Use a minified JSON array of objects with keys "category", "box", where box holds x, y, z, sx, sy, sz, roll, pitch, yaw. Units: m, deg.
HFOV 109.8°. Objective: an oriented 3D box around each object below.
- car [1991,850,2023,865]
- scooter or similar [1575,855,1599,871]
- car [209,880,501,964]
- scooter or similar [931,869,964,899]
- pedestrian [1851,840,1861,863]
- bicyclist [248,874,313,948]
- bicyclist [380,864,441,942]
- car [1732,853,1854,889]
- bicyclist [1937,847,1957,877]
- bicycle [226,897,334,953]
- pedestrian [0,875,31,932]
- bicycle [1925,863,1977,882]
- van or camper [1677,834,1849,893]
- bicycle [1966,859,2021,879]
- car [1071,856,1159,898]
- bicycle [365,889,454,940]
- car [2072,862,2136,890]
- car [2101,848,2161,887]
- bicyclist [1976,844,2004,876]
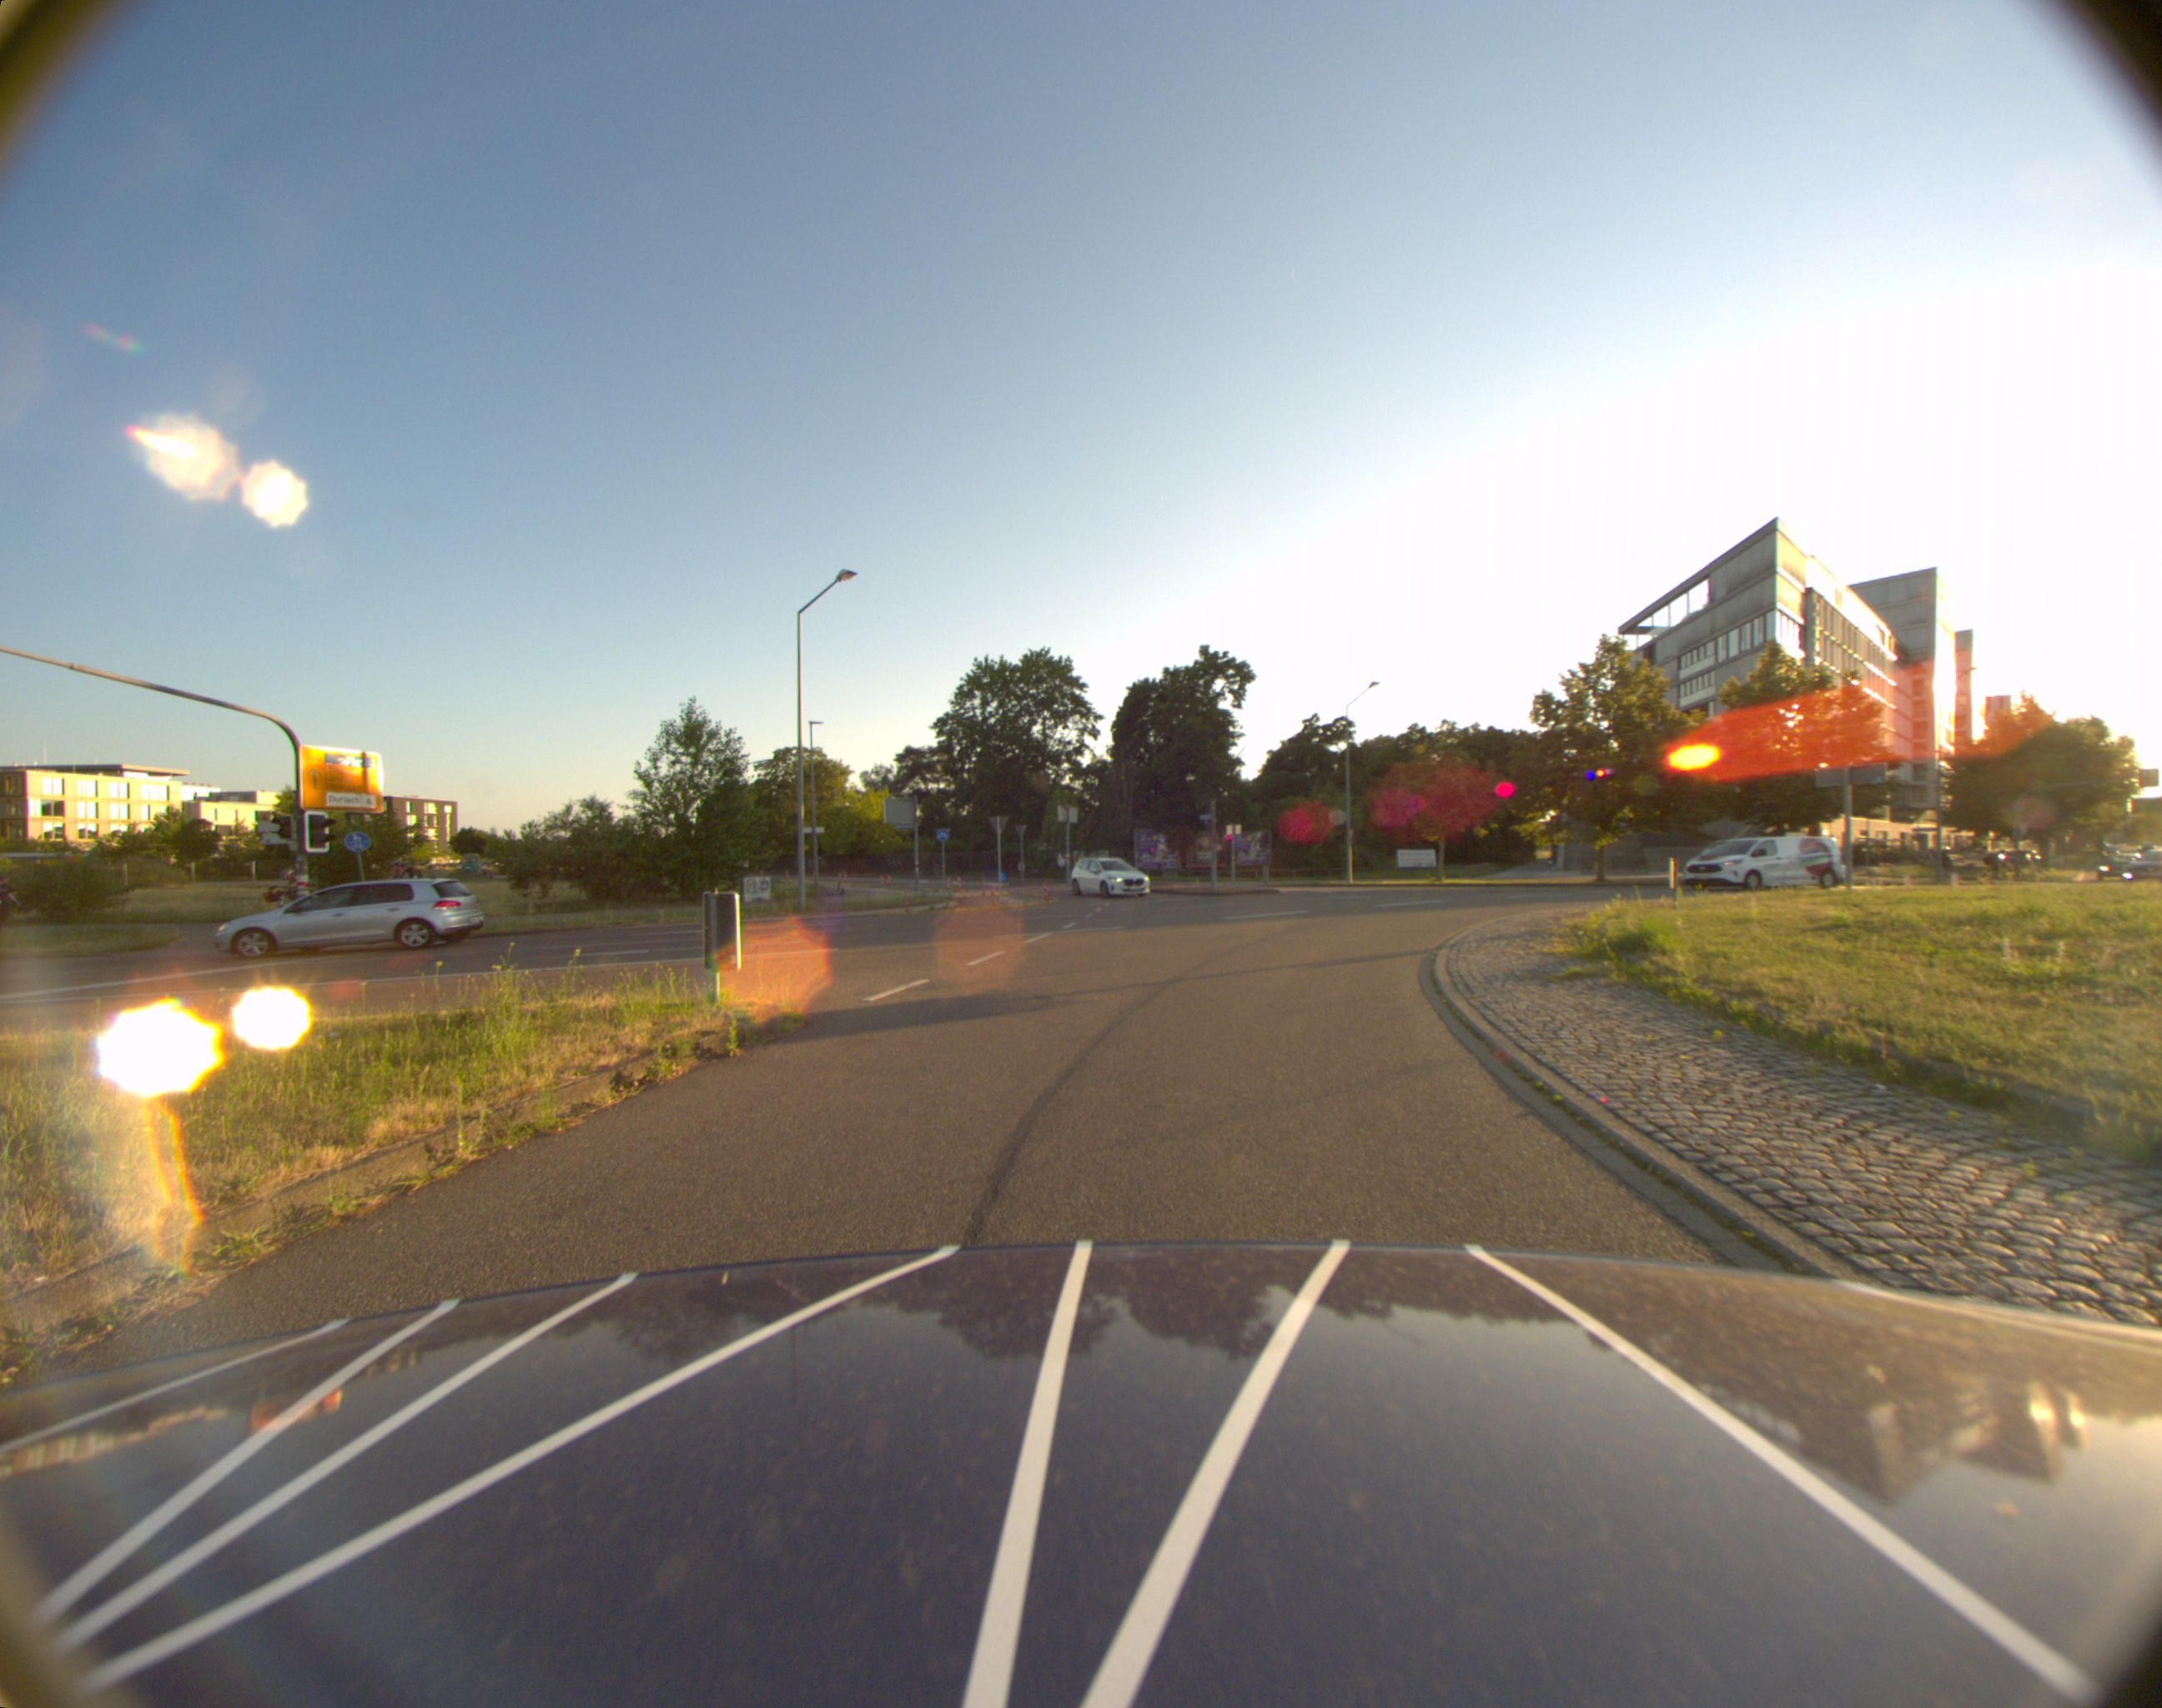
[{"category":"car","box":[89.049,0.328,73.083,4.008,1.455,1.798,0,0,-37]},{"category":"scooter or similar","box":[39.046,0.671,58.679,0.367,1.213,1.573,-1,0,-27]},{"category":"car","box":[-15.234,1.372,16.241,4.054,1.472,1.890,-1,0,-17]},{"category":"scooter or similar","box":[-5.545,1.241,31.631,0.441,1.156,1.386,0,0,39]},{"category":"pedestrian","box":[68.034,-0.256,66.680,0.528,2.002,0.537,-1,0,-37]},{"category":"bicyclist","box":[-19.219,1.357,18.261,0.641,1.693,0.770,-1,3,1]},{"category":"bicyclist","box":[-16.986,1.223,19.264,0.641,1.887,0.910,-1,2,1]},{"category":"car","box":[31.016,0.699,33.100,4.562,1.422,1.743,-1,0,-15]},{"category":"bicyclist","box":[47.188,0.422,41.398,0.682,1.638,0.685,0,0,44]},{"category":"bicycle","box":[-19.202,1.674,18.281,0.456,1.079,1.928,-1,3,2]},{"category":"pedestrian","box":[-29.718,1.367,20.883,0.567,1.541,0.797,-1,1,4]},{"category":"bicycle","box":[47.151,0.979,41.205,1.858,1.016,0.308,-1,0,44]},{"category":"van or camper","box":[24.967,0.317,27.852,5.331,1.946,1.998,-1,1,-13]},{"category":"bicycle","box":[49.560,0.806,41.293,0.438,1.016,1.859,-1,0,-29]},{"category":"car","box":[1.289,0.899,30.999,1.893,1.549,4.087,-1,0,-25]},{"category":"bicycle","box":[-16.976,1.511,19.280,0.456,1.079,1.928,-1,2,2]},{"category":"car","box":[58.797,1.239,43.655,4.006,1.431,1.741,-1,0,-30]},{"category":"car","box":[46.087,0.532,32.372,4.002,1.527,1.743,-1,0,-14]},{"category":"bicyclist","box":[49.035,0.316,41.007,0.805,1.745,0.847,-1,0,-30]}]
